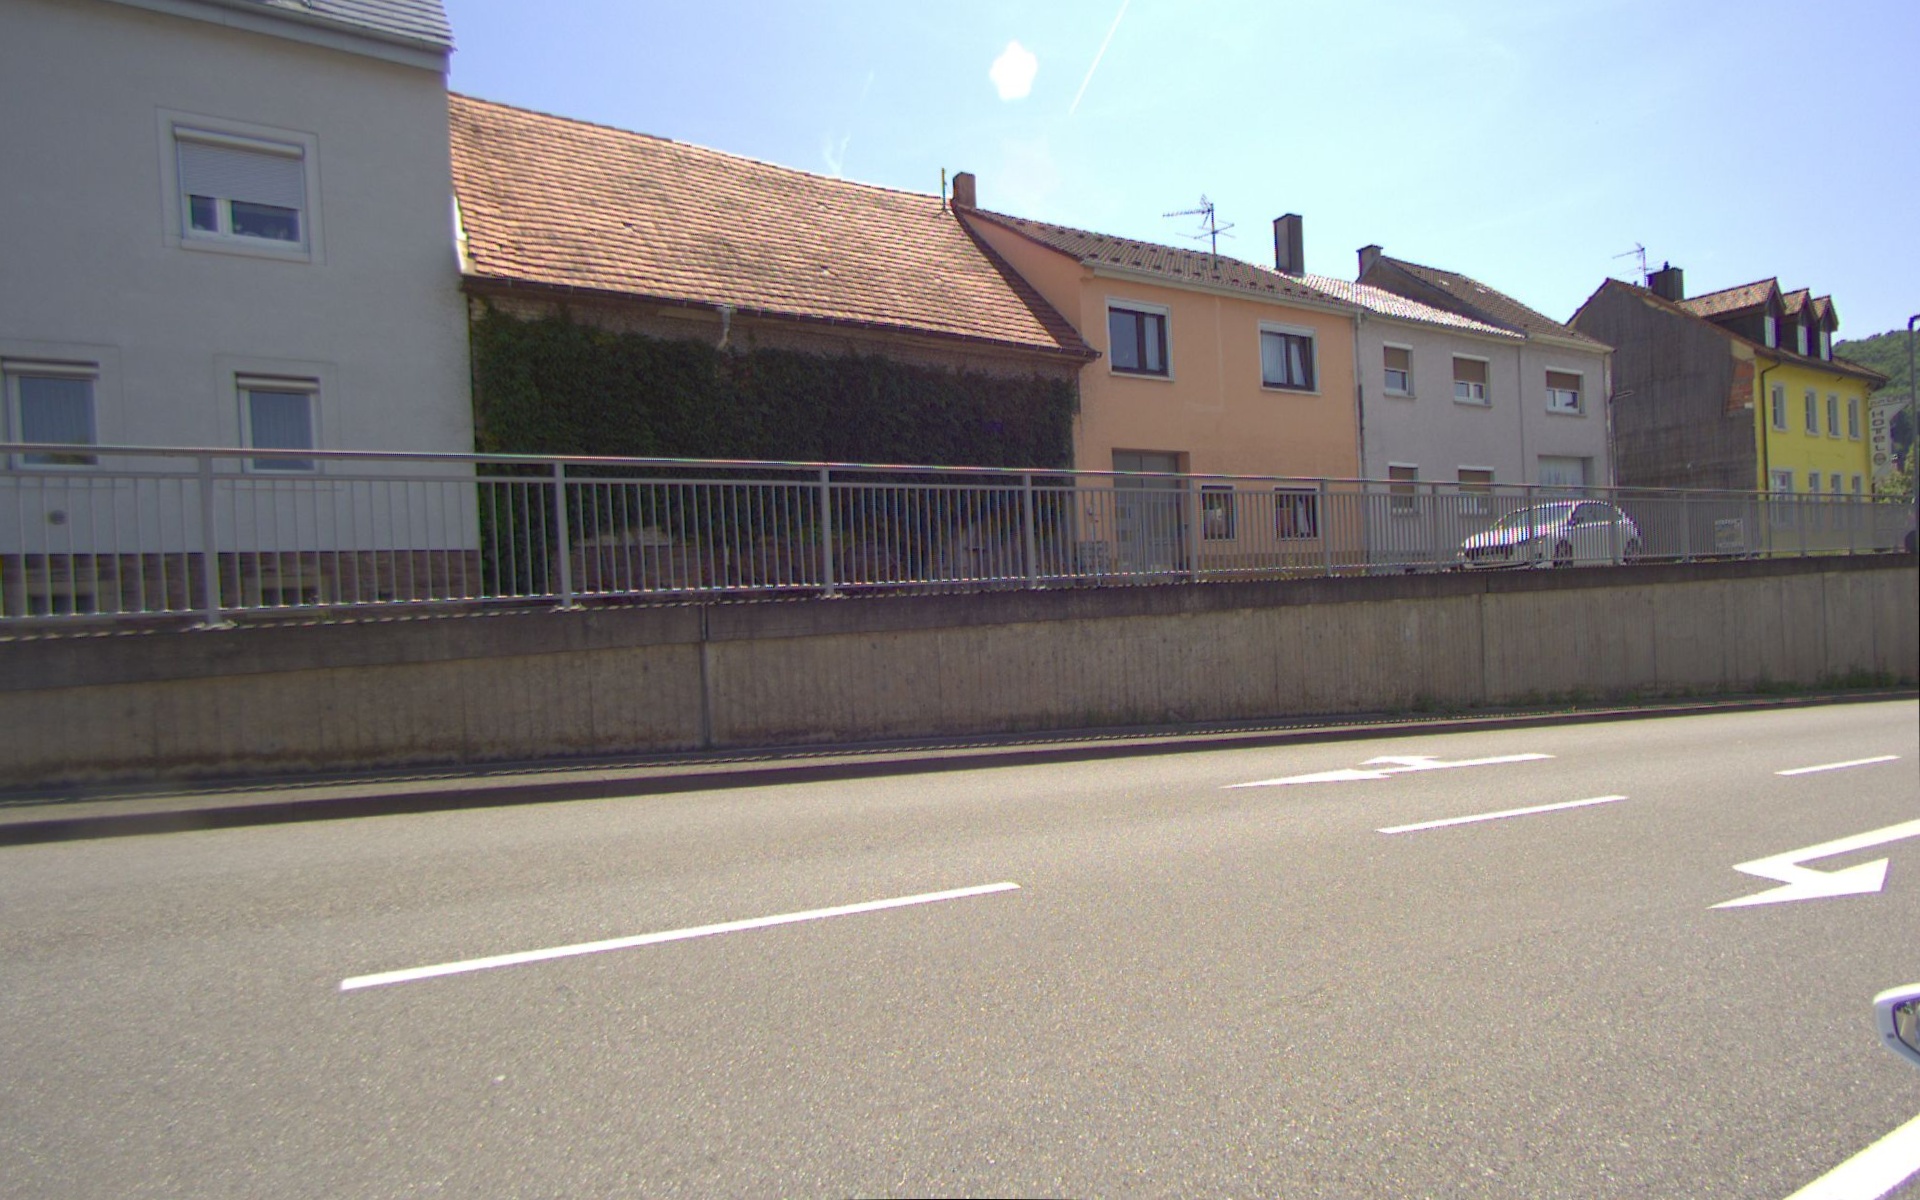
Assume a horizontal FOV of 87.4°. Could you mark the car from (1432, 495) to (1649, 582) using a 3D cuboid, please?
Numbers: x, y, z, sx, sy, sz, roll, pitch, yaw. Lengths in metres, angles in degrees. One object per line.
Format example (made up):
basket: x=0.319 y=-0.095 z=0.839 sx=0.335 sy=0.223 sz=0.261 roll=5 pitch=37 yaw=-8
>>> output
car: x=11.163 y=-1.166 z=19.240 sx=4.260 sy=1.482 sz=1.804 roll=-3 pitch=2 yaw=-32

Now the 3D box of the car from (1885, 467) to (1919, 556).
car: x=30.535 y=-2.685 z=30.425 sx=5.591 sy=2.571 sz=2.056 roll=-2 pitch=2 yaw=-29
